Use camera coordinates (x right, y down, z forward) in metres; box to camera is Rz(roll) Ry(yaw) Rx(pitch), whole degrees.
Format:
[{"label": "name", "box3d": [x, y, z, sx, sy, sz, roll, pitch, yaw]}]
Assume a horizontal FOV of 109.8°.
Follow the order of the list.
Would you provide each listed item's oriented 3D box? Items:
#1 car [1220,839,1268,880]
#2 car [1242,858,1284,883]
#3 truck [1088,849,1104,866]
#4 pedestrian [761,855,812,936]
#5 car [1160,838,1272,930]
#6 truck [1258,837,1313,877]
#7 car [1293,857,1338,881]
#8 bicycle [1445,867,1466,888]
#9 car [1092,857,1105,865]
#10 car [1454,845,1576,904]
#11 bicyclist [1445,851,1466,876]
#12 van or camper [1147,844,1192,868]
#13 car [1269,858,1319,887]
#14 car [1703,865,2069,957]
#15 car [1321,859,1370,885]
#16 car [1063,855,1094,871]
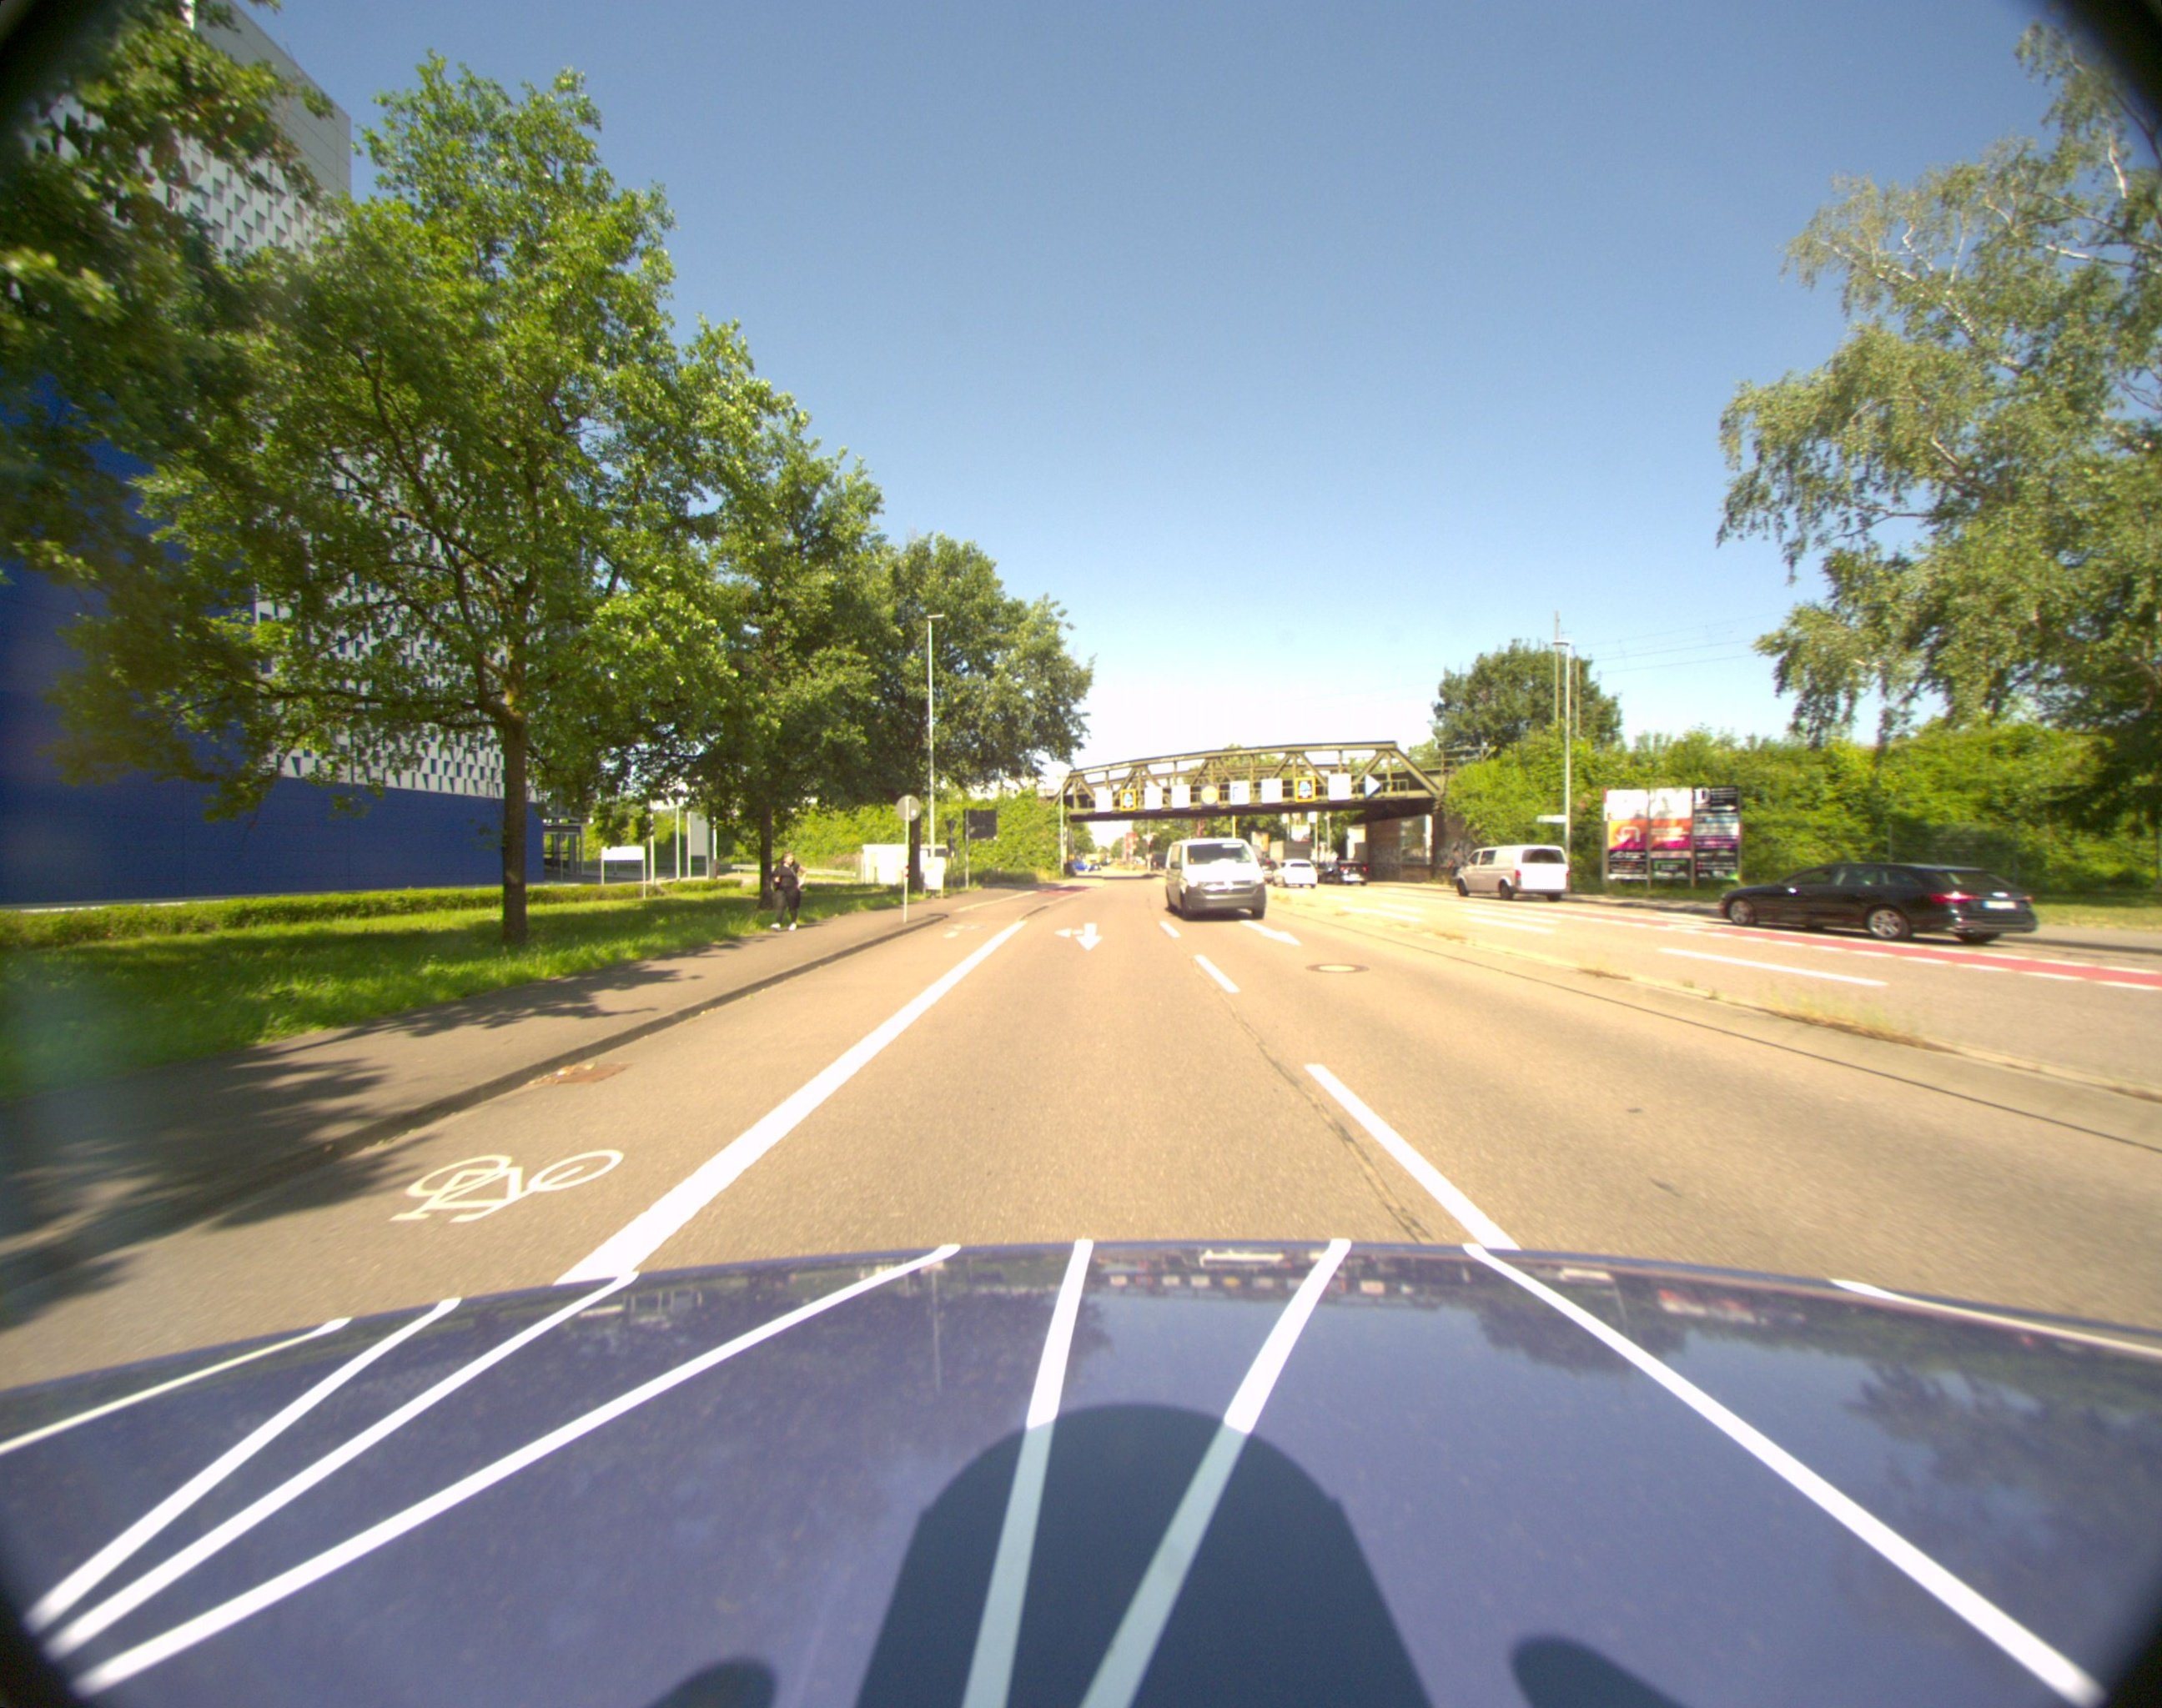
[{"label": "car", "box3d": [11.910, 0.372, 56.155, 1.998, 2.788, 6.937, 2, 0, 0]}, {"label": "car", "box3d": [11.605, 1.067, 48.682, 1.773, 1.485, 4.179, 1, -1, 2]}, {"label": "truck", "box3d": [2.789, 0.701, 145.236, 2.410, 2.845, 5.804, -3, -1, -4]}, {"label": "pedestrian", "box3d": [-5.929, 0.815, 15.328, 0.648, 1.594, 0.847, 0, 1, 3]}, {"label": "car", "box3d": [3.195, 0.658, 19.064, 1.886, 1.982, 4.974, 0, 0, 0]}, {"label": "truck", "box3d": [16.433, 0.252, 61.470, 2.347, 3.070, 7.069, -1, 0, -2]}, {"label": "car", "box3d": [16.789, 1.080, 54.610, 1.989, 1.679, 4.289, 1, -1, 2]}, {"label": "bicycle", "box3d": [18.606, 1.161, 37.773, 0.447, 1.021, 1.616, 0, 0, 6]}, {"label": "car", "box3d": [2.945, 1.213, 129.024, 1.823, 1.346, 3.999, 0, 0, -2]}, {"label": "car", "box3d": [16.005, 0.705, 28.432, 1.997, 2.002, 5.349, 0, 0, 6]}, {"label": "bicyclist", "box3d": [18.553, 0.478, 37.629, 0.635, 1.220, 0.951, 0, 0, 6]}, {"label": "van or camper", "box3d": [12.257, 0.293, 106.008, 5.779, 3.136, 2.600, -3, -1, -3]}, {"label": "car", "box3d": [11.322, 0.976, 40.601, 1.647, 1.485, 3.830, 1, -1, 1]}, {"label": "car", "box3d": [15.092, 0.963, 14.761, 1.999, 1.405, 4.679, 0, 0, -4]}, {"label": "car", "box3d": [16.466, 1.118, 47.492, 1.773, 1.485, 4.179, 1, -1, 2]}, {"label": "car", "box3d": [-0.314, 1.242, 102.681, 3.996, 2.001, 2.212, -3, -1, 4]}]
